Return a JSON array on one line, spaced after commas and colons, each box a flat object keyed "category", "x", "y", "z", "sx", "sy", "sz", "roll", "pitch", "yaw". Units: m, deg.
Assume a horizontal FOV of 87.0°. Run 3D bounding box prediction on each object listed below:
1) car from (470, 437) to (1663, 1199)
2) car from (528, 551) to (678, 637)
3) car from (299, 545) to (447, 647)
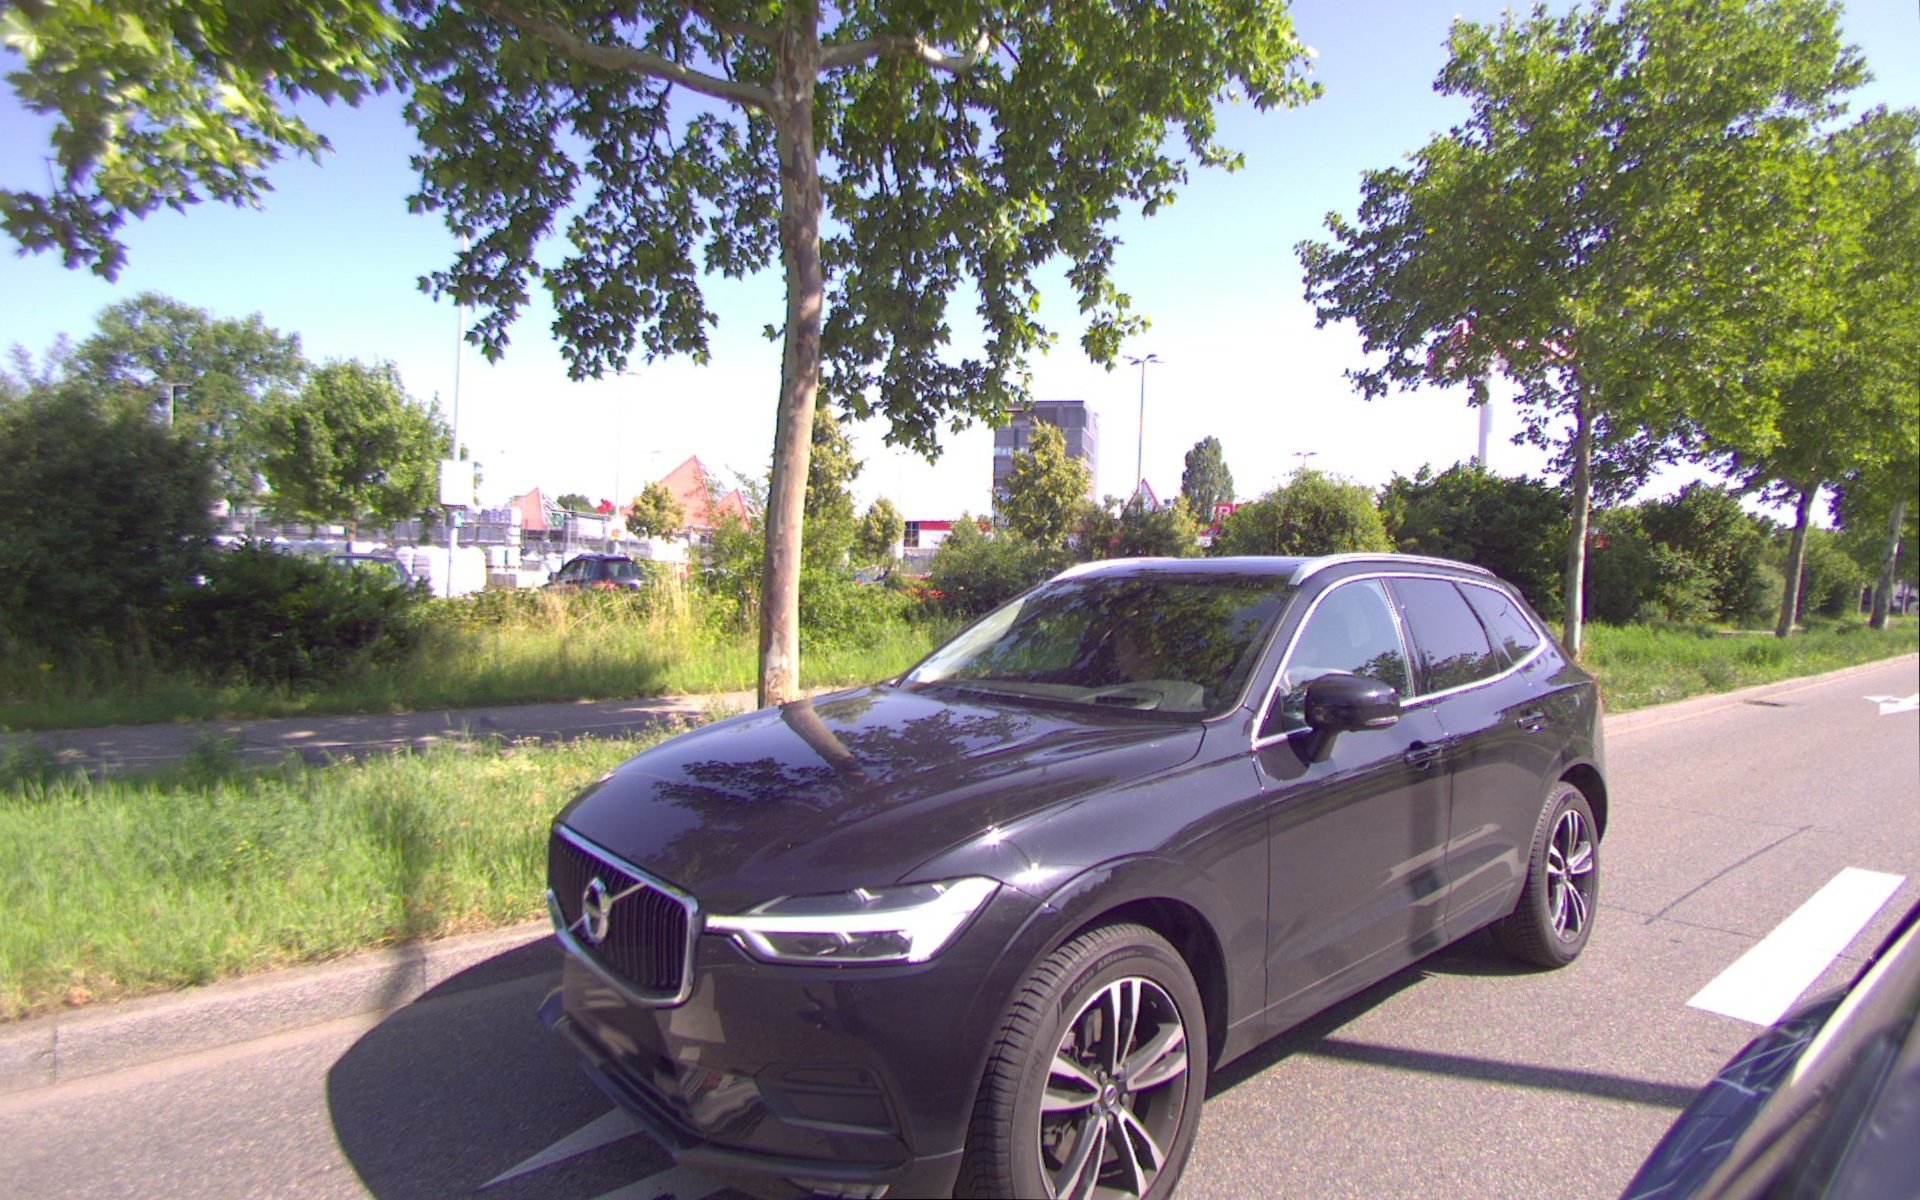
[{"category": "car", "x": 0.834, "y": 0.538, "z": 3.791, "sx": 4.485, "sy": 1.642, "sz": 1.922, "roll": 0, "pitch": 1, "yaw": -41}, {"category": "car", "x": -7.799, "y": -0.159, "z": 21.969, "sx": 3.548, "sy": 1.717, "sz": 1.692, "roll": 1, "pitch": 1, "yaw": 45}, {"category": "car", "x": -11.053, "y": -0.098, "z": 18.959, "sx": 1.690, "sy": 1.717, "sz": 3.552, "roll": 0, "pitch": 1, "yaw": -43}]
